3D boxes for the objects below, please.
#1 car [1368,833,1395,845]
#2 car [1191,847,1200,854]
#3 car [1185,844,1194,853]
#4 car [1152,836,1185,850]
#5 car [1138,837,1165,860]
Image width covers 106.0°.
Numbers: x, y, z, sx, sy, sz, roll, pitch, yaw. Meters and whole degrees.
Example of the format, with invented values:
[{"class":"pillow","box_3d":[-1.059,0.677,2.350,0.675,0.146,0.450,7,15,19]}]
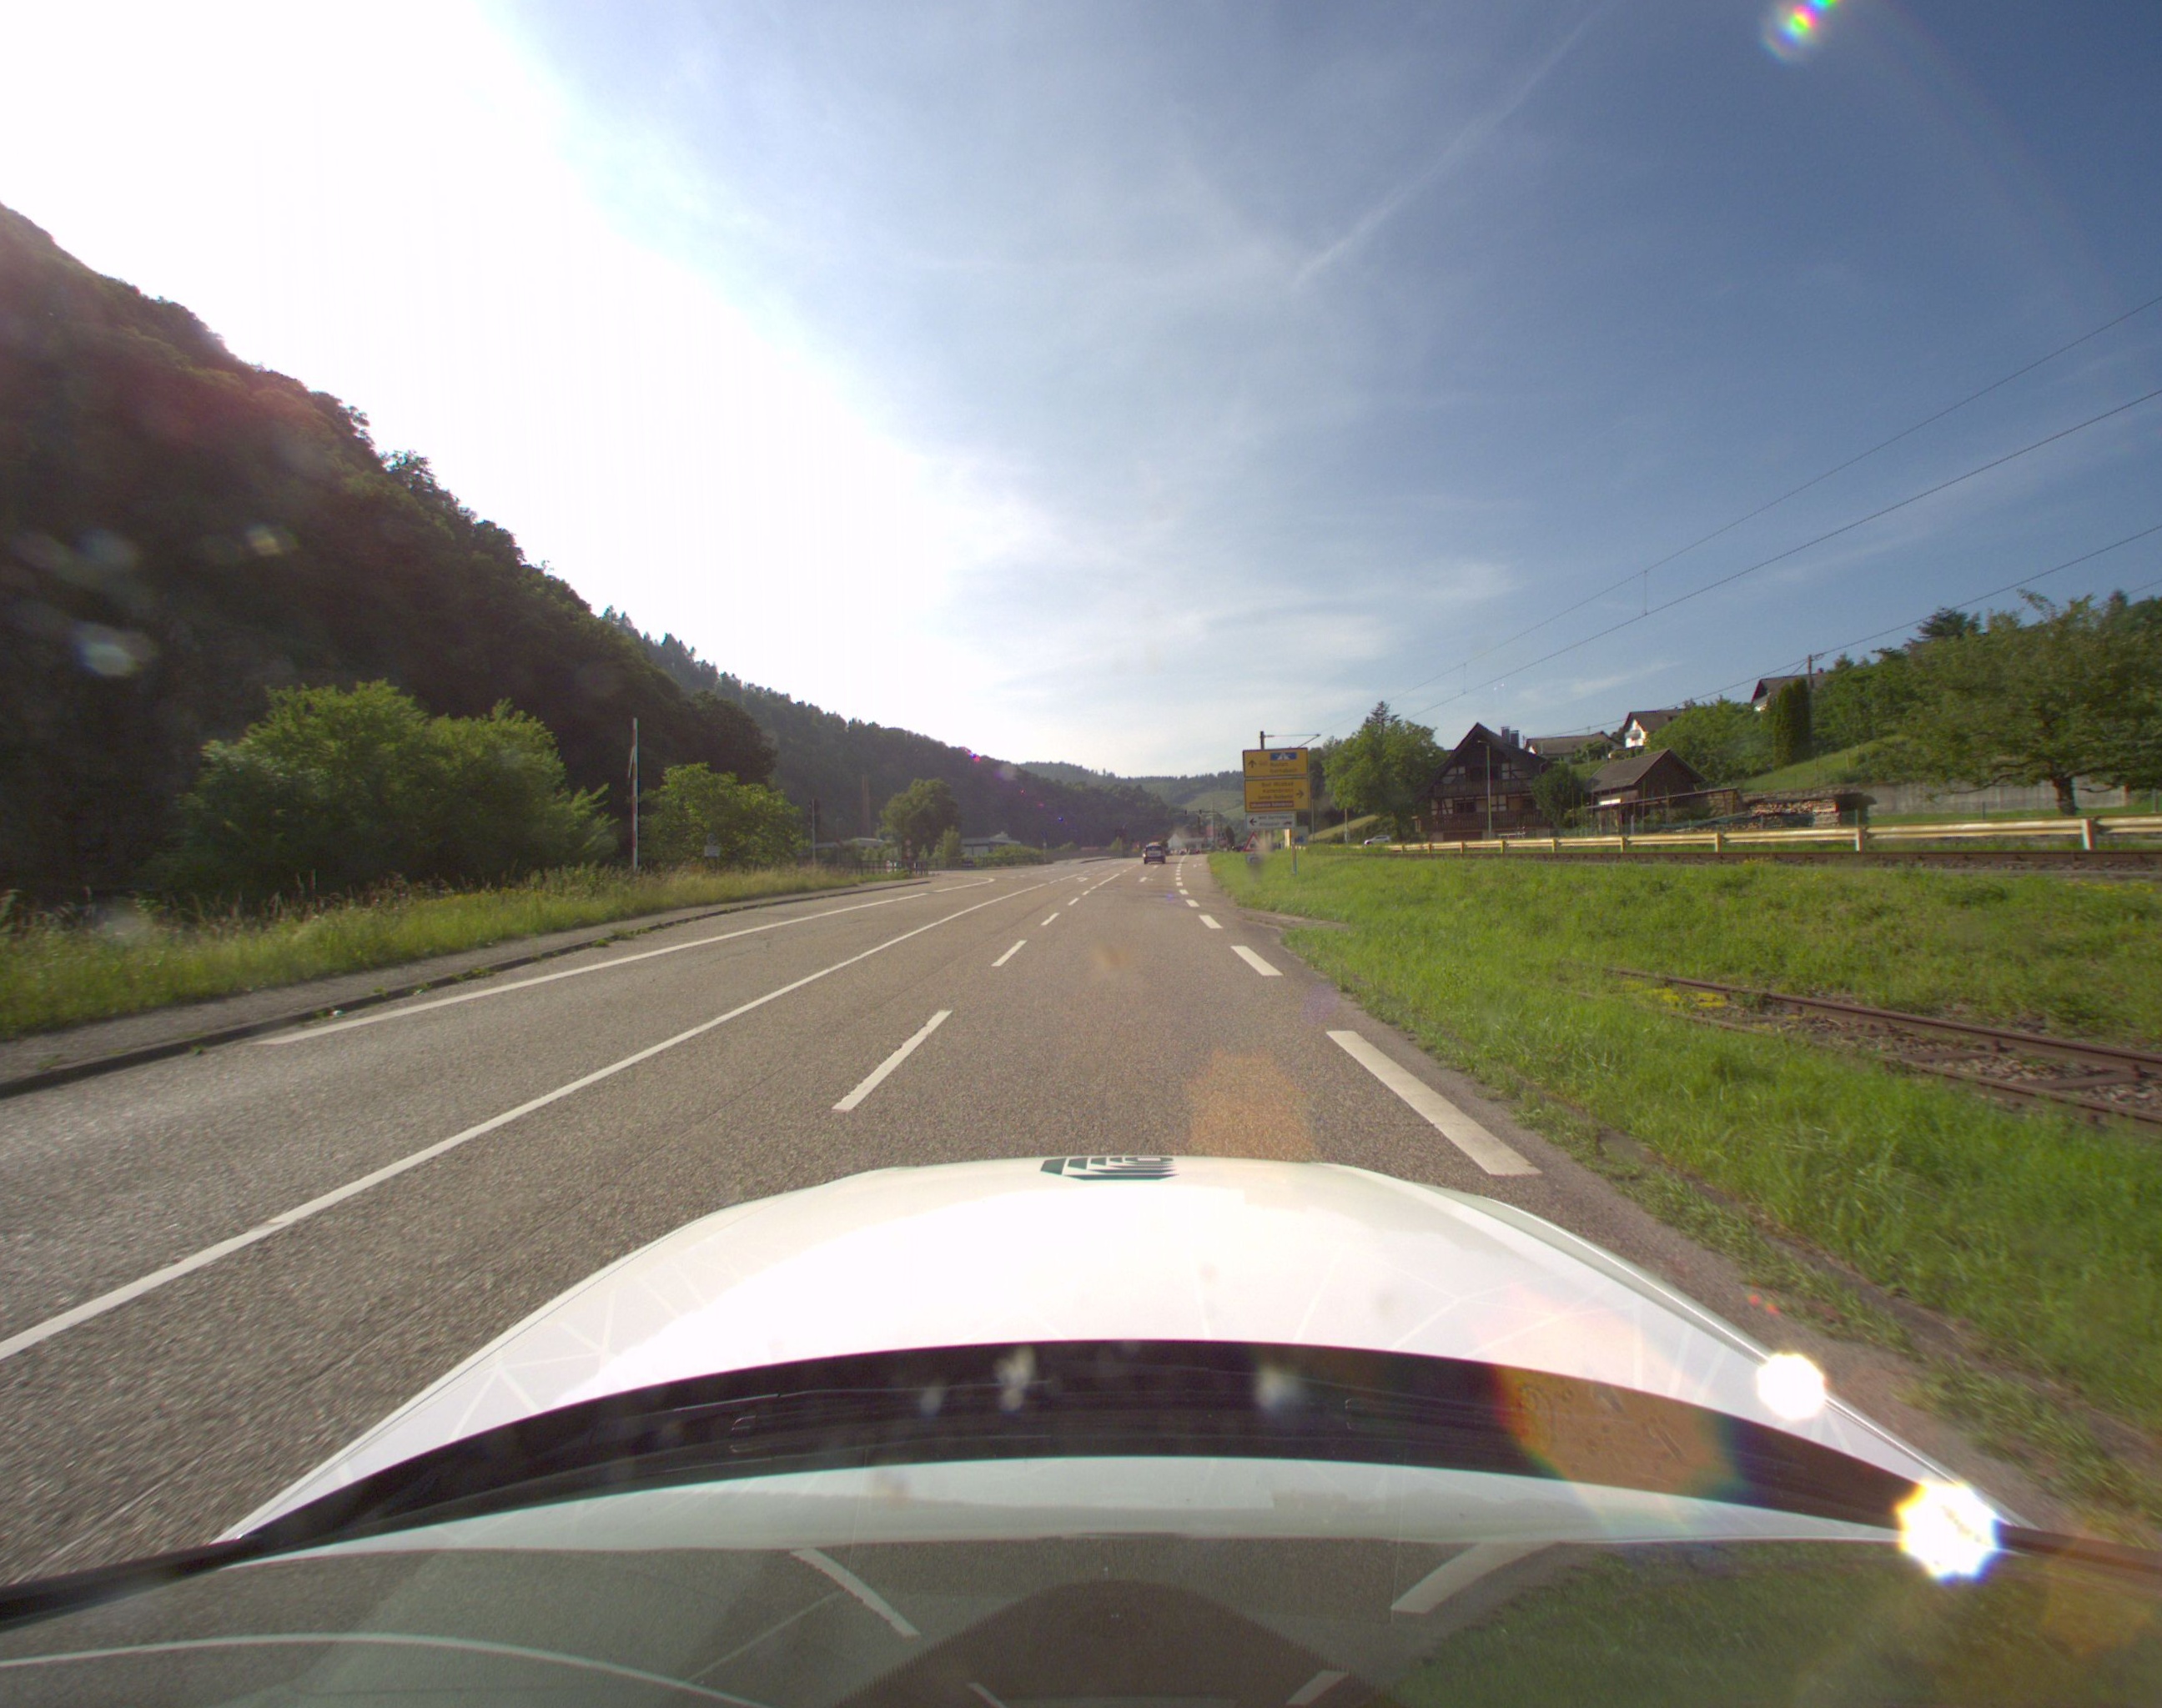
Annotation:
[{"class":"car","box_3d":[47.944,-2.405,129.831,3.952,1.881,1.888,-2,0,22]},{"class":"car","box_3d":[28.565,-0.950,203.114,1.983,1.618,4.008,-3,0,7]},{"class":"car","box_3d":[25.359,-1.273,190.290,1.983,2.013,4.008,-3,0,7]},{"class":"car","box_3d":[14.368,-1.763,133.733,5.321,2.013,1.977,-4,0,-37]},{"class":"car","box_3d":[6.038,-0.457,70.127,1.986,1.723,3.992,-4,0,2]}]
